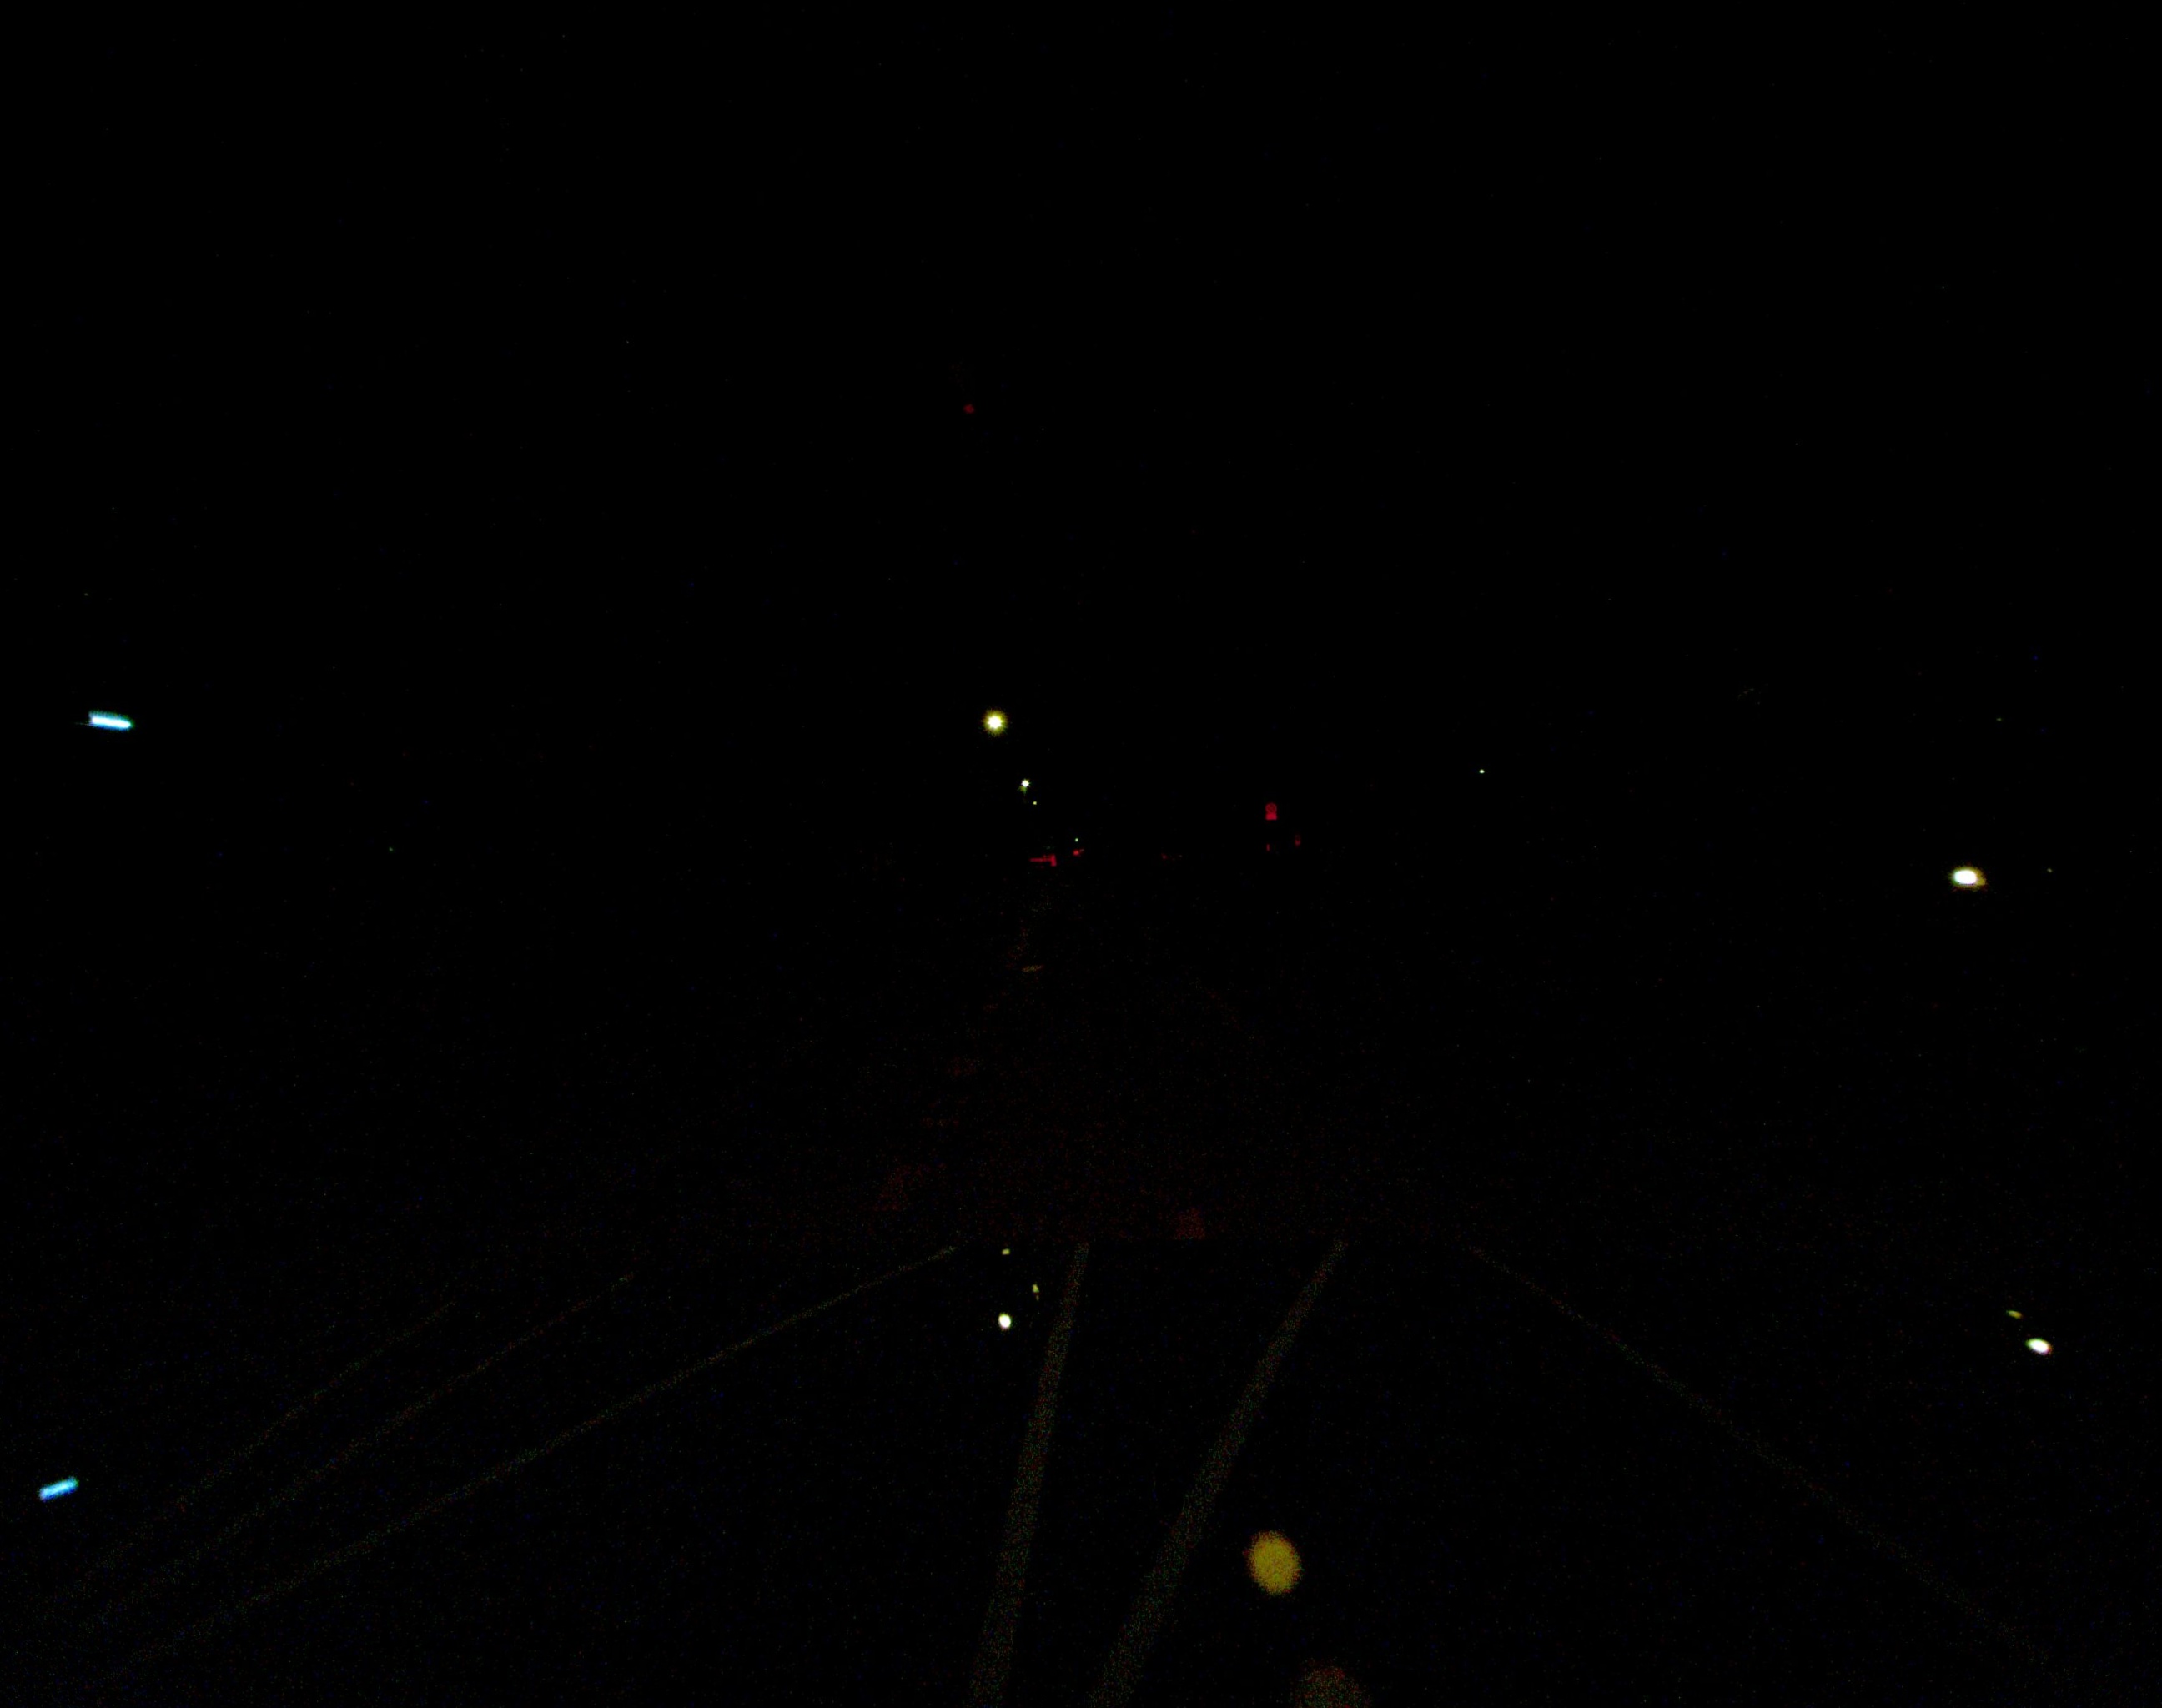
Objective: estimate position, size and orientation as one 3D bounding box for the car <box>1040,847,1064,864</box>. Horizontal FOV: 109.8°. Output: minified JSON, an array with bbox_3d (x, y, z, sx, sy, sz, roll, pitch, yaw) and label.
[{"bbox_3d":[-2.911,0.143,78.166,1.998,1.638,4.000,0,1,5],"label":"car"}]

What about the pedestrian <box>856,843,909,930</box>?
[{"bbox_3d":[-4.426,0.694,16.996,0.819,1.854,1.034,-2,1,1],"label":"pedestrian"}]

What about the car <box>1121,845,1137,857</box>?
[{"bbox_3d":[6.288,-0.446,100.499,1.863,1.484,4.080,-2,1,1],"label":"car"}]

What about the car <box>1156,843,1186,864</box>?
[{"bbox_3d":[7.187,-0.081,60.844,1.806,1.583,3.999,-2,1,-1],"label":"car"}]

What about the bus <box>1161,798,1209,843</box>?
[{"bbox_3d":[17.454,-5.418,129.203,6.135,6.898,14.781,-2,1,1],"label":"bus"}]

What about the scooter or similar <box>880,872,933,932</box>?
[{"bbox_3d":[-3.670,1.004,16.046,0.468,1.195,1.137,-2,0,24],"label":"scooter or similar"}]
